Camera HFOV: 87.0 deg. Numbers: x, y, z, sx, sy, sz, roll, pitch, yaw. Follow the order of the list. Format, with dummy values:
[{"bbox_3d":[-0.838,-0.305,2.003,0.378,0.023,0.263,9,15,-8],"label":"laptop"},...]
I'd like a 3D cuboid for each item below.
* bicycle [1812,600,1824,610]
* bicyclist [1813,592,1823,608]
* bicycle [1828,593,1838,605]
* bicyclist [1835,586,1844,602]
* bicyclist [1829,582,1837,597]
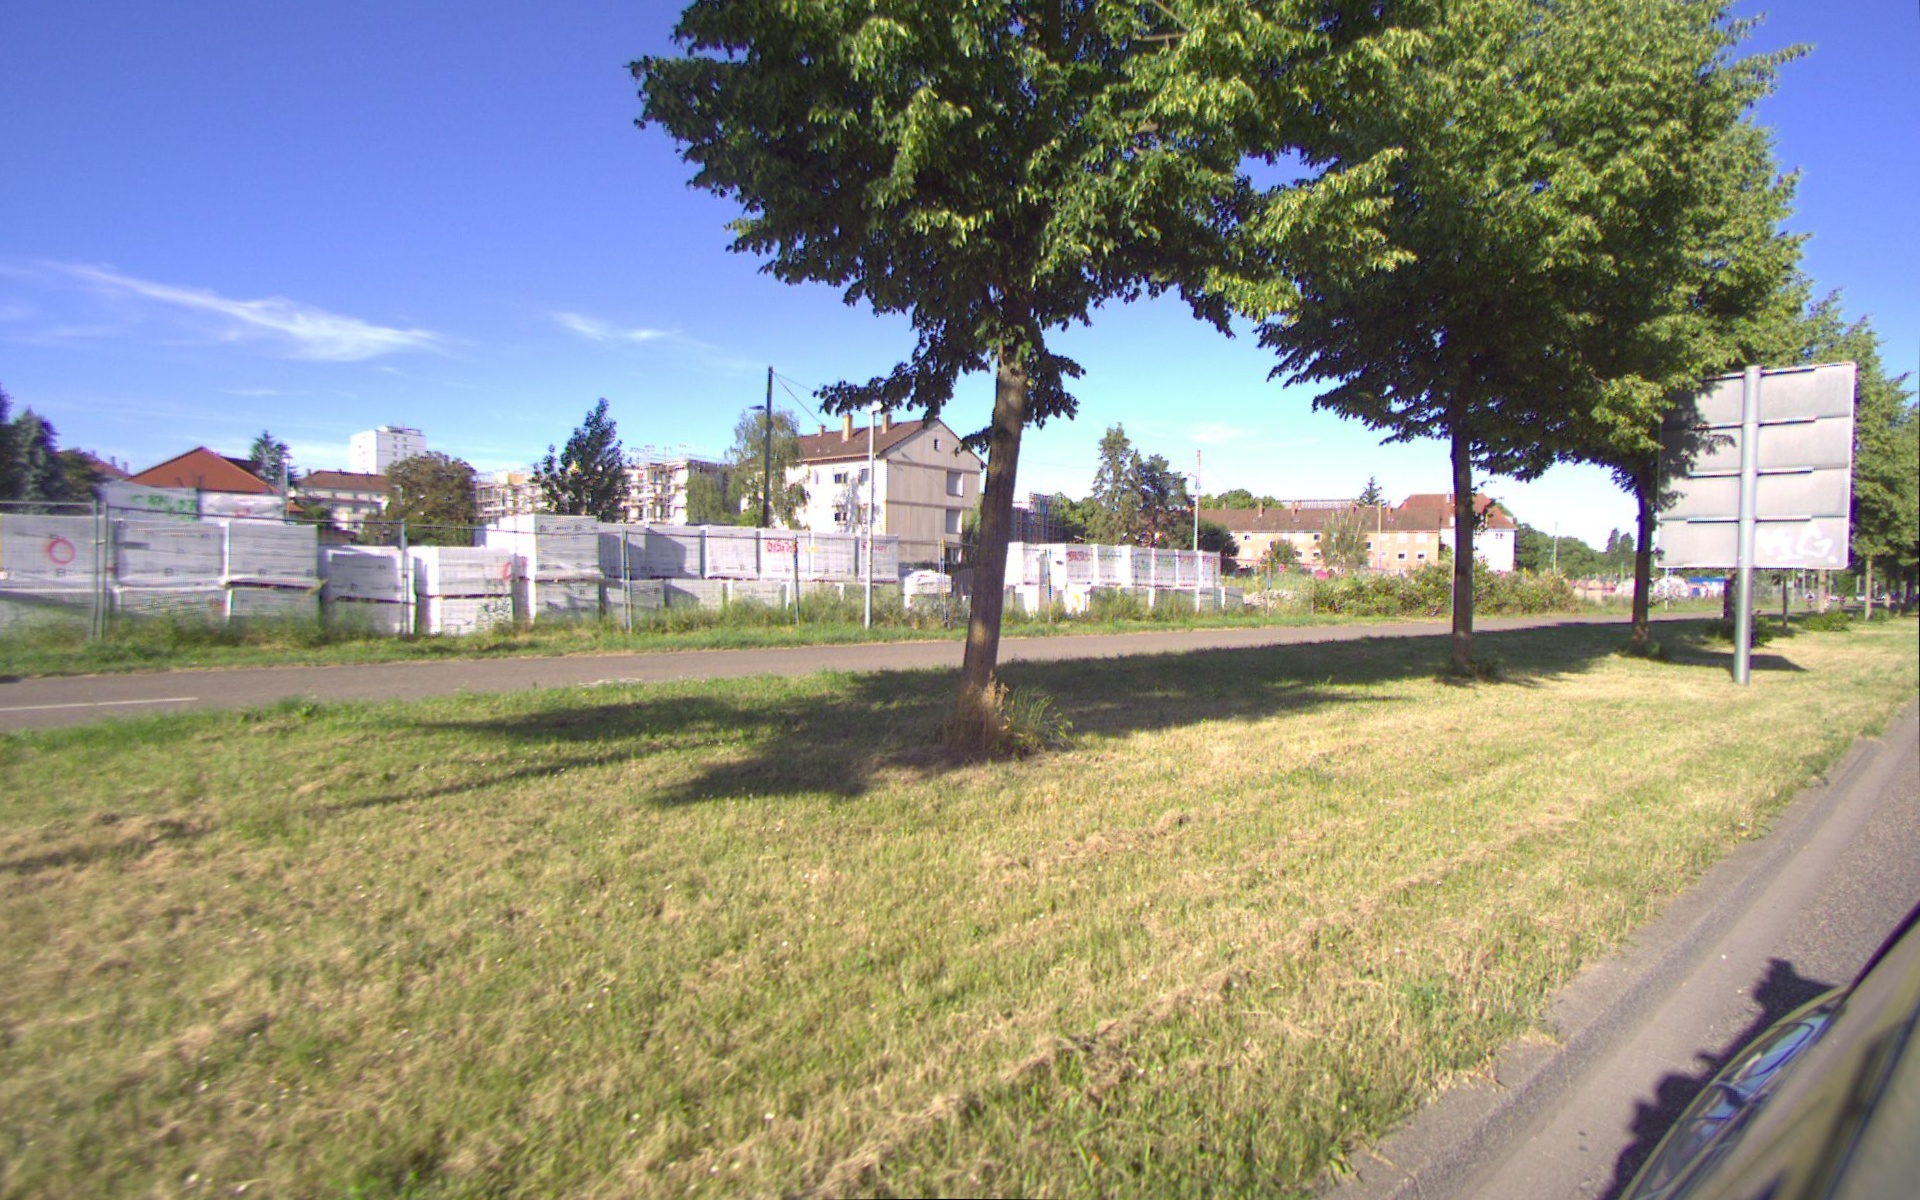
[{"bbox_3d":[82.764,0.477,97.619,1.789,1.025,0.656,0,1,-43],"label":"bicycle"},{"bbox_3d":[82.819,-0.004,97.656,0.781,1.572,0.653,0,1,-42],"label":"bicyclist"},{"bbox_3d":[83.626,-0.079,96.941,1.578,1.165,0.506,0,3,-44],"label":"bicycle"},{"bbox_3d":[91.250,-0.611,104.946,0.950,1.606,0.592,-2,2,-44],"label":"bicyclist"},{"bbox_3d":[83.680,-1.009,96.984,0.820,1.491,0.503,-1,2,-44],"label":"bicyclist"}]
